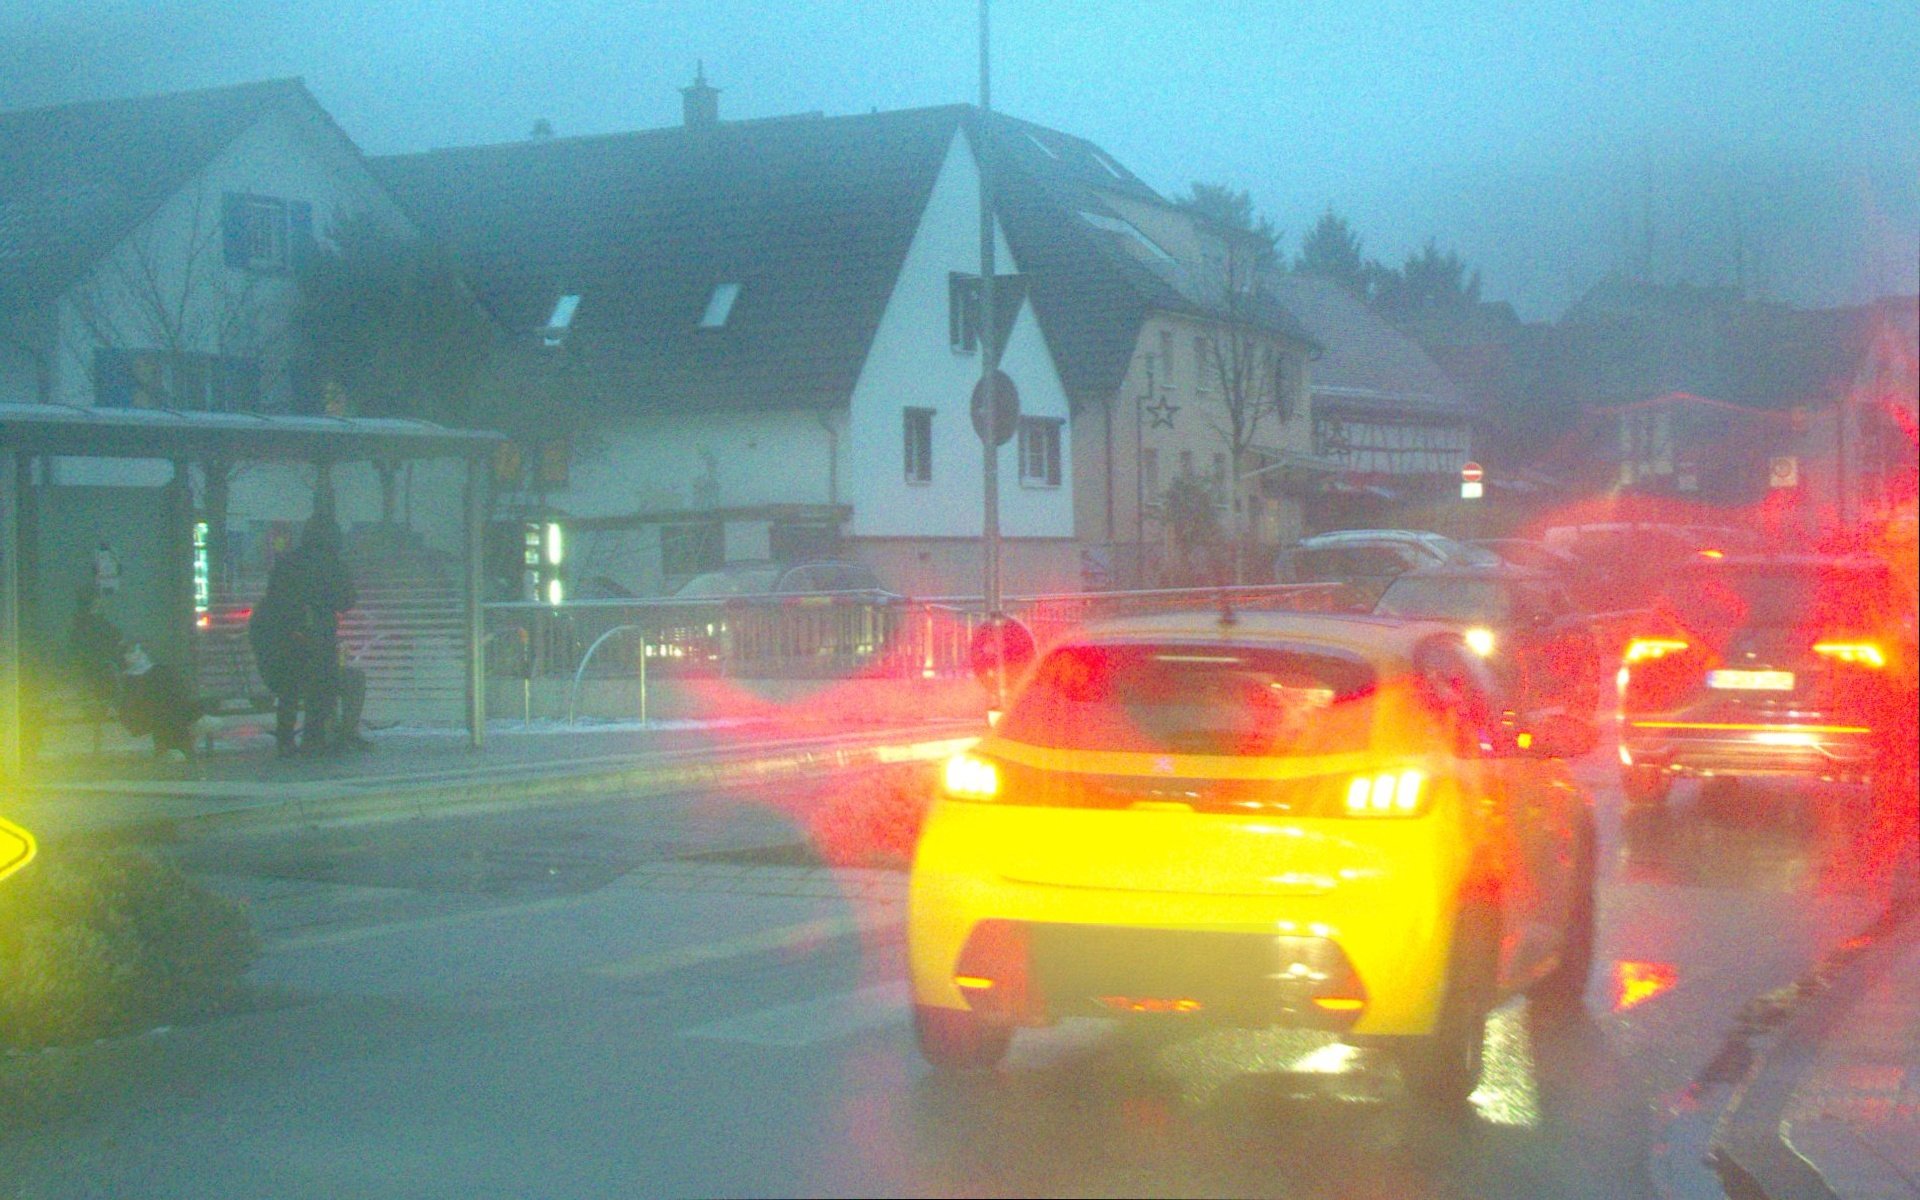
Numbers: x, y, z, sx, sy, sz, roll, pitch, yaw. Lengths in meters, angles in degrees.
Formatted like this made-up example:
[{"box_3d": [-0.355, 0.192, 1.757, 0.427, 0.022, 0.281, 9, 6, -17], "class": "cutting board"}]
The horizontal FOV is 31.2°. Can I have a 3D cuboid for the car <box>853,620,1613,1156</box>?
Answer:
[{"box_3d": [1.090, 0.783, 11.379, 1.711, 1.417, 4.009, 1, 0, 16], "class": "car"}]

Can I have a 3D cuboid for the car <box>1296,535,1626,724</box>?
[{"box_3d": [4.583, 0.210, 30.985, 1.743, 1.563, 4.056, 1, 1, 27], "class": "car"}]

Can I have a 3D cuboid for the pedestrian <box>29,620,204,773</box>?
[{"box_3d": [-5.805, 0.653, 23.686, 0.862, 1.007, 0.810, 0, 1, 21], "class": "pedestrian"}]

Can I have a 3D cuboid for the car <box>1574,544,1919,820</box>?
[{"box_3d": [5.381, 0.470, 22.949, 1.917, 1.609, 3.947, 0, 2, 19], "class": "car"}]

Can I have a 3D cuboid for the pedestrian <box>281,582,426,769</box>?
[{"box_3d": [-4.477, 0.545, 25.399, 0.784, 1.343, 0.716, 0, 1, 24], "class": "pedestrian"}]

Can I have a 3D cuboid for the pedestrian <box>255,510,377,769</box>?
[{"box_3d": [-4.553, 0.272, 24.329, 0.729, 1.812, 0.531, -1, 1, 1], "class": "pedestrian"}]
